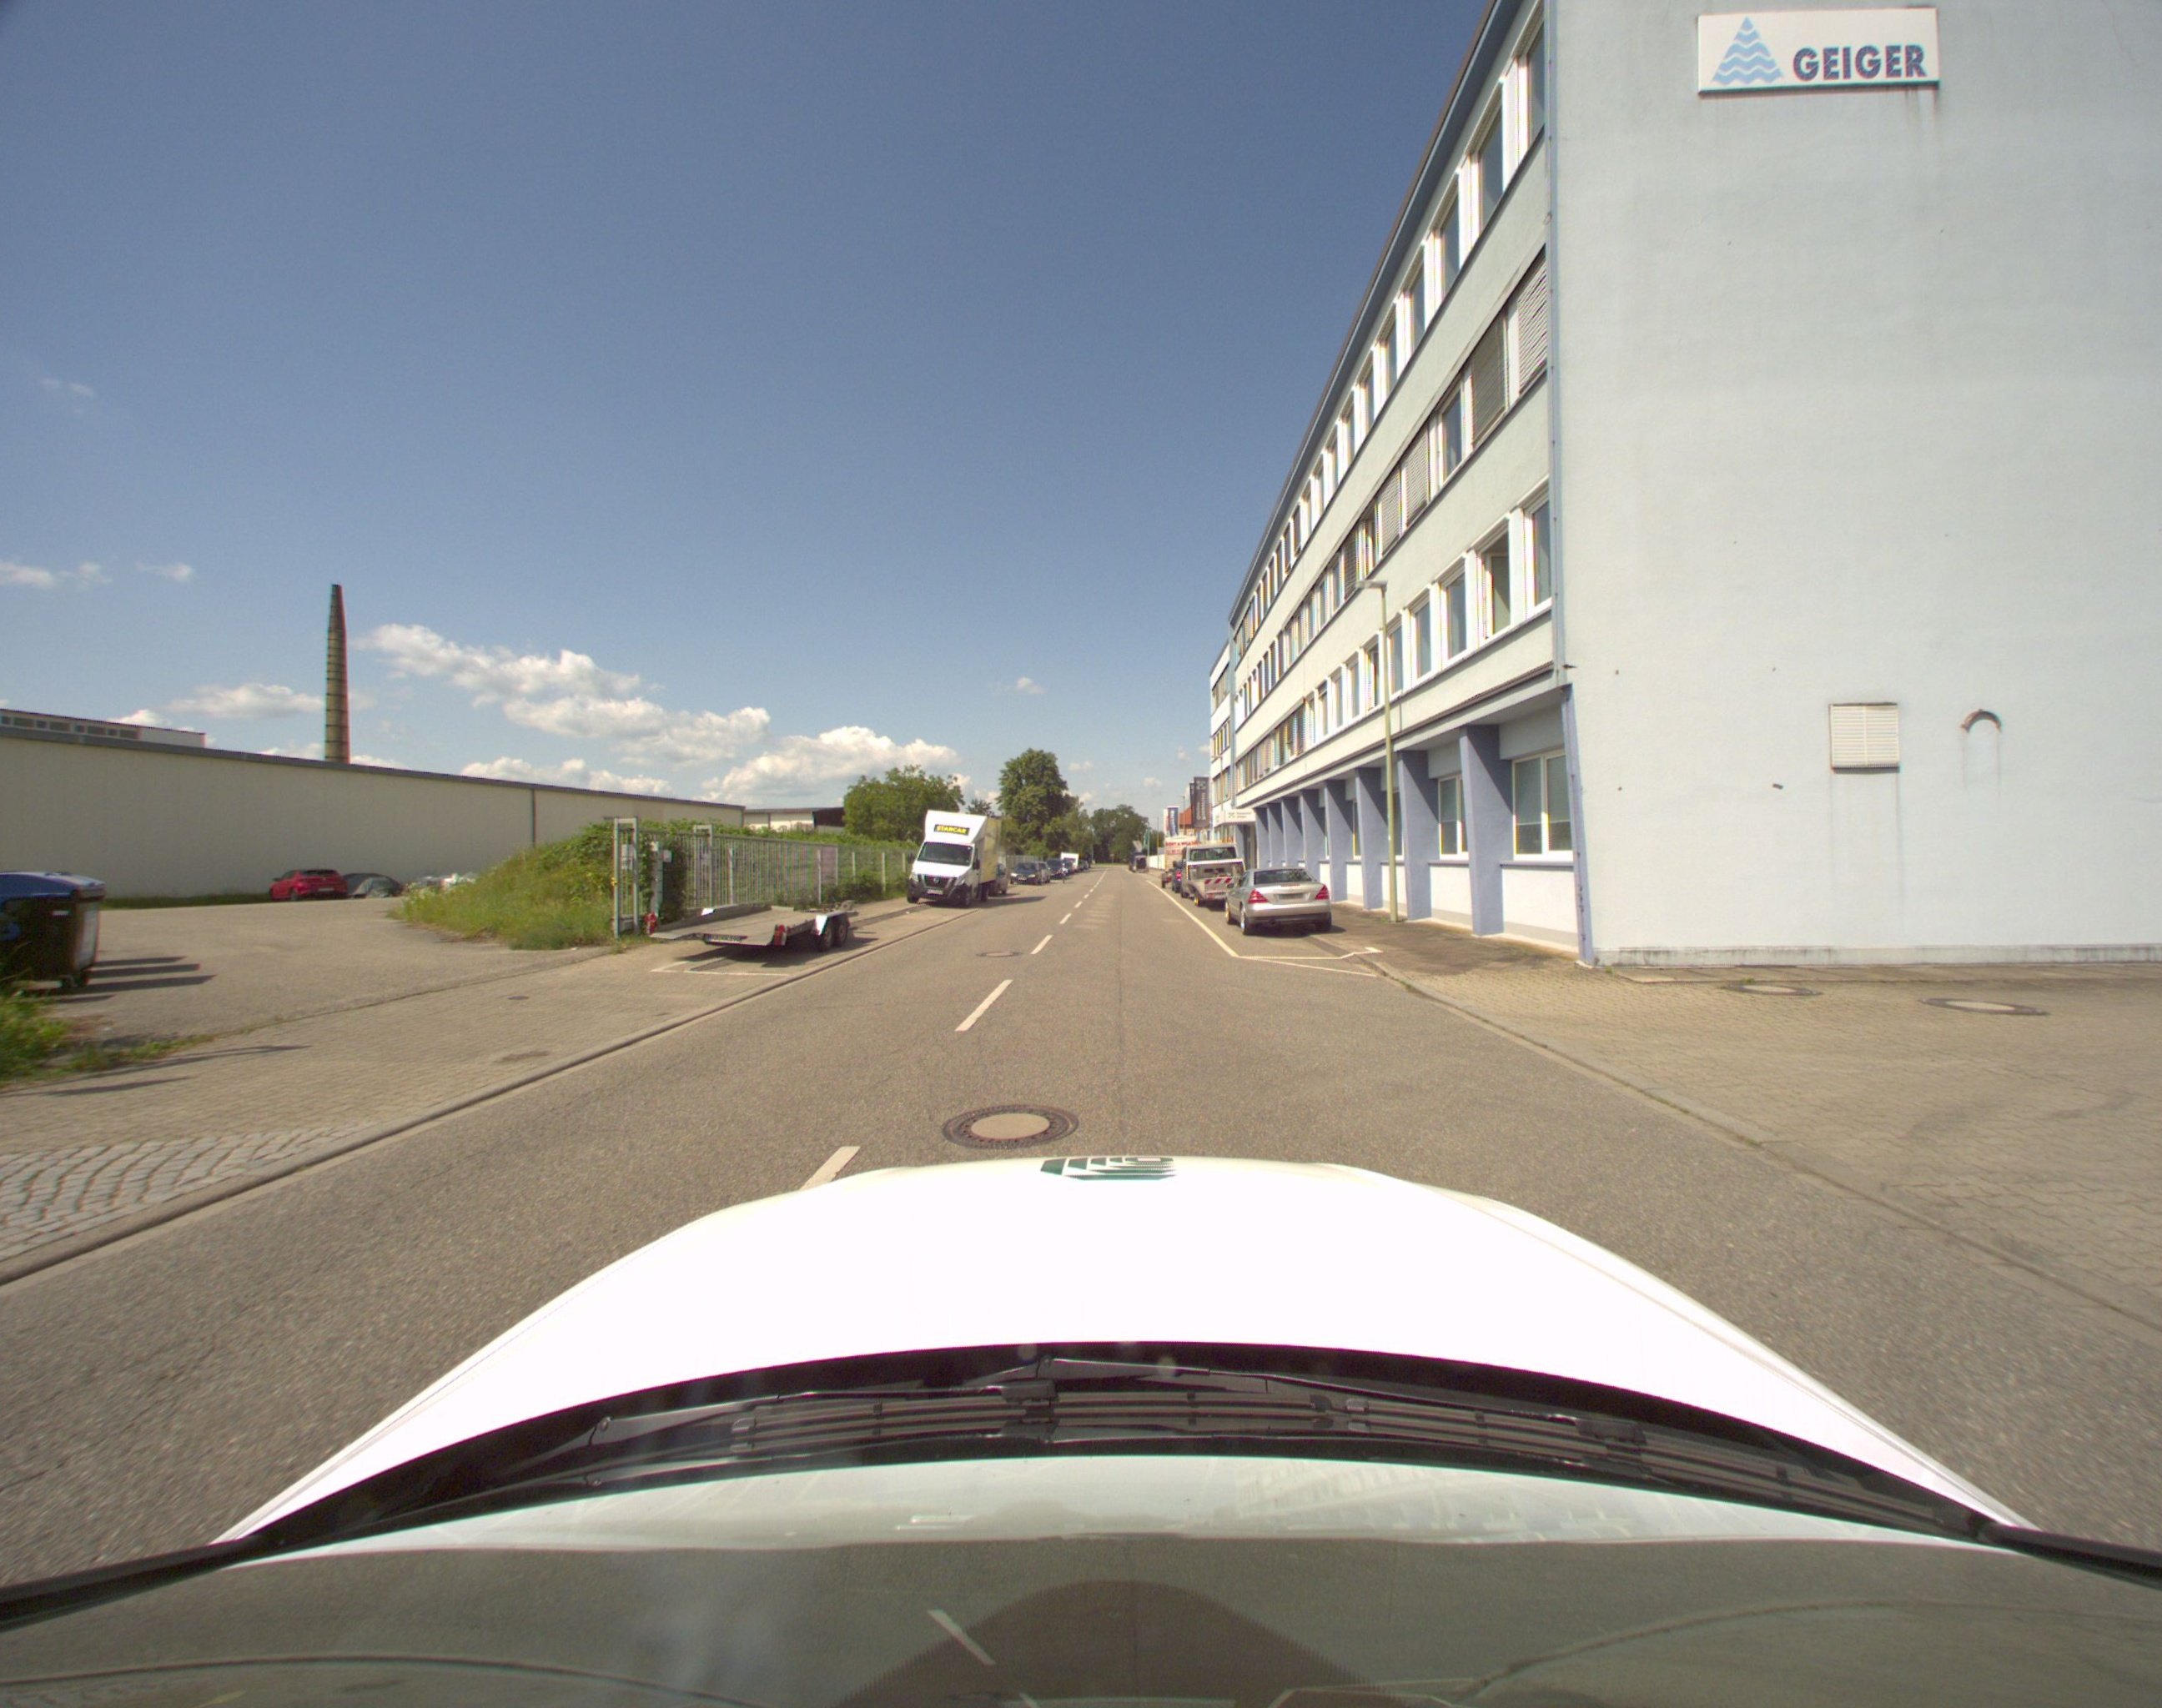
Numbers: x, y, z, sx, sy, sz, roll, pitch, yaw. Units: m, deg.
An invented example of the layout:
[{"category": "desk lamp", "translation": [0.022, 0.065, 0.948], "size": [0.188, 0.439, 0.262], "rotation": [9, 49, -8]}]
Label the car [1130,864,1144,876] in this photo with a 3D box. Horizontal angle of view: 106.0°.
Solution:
[{"category": "car", "translation": [7.065, 2.064, 103.340], "size": [1.566, 1.507, 4.134], "rotation": [0, -1, 2]}]

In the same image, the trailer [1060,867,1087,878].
[{"category": "trailer", "translation": [-0.737, 1.890, 84.566], "size": [2.261, 0.883, 7.138], "rotation": [4, -1, 4]}]

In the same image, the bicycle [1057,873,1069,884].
[{"category": "bicycle", "translation": [-1.184, 1.642, 55.033], "size": [0.585, 0.741, 2.128], "rotation": [0, -1, 5]}]

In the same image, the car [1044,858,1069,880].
[{"category": "car", "translation": [-2.033, 1.255, 69.442], "size": [1.794, 1.750, 4.714], "rotation": [-1, -1, 2]}]

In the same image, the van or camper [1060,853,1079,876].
[{"category": "van or camper", "translation": [-1.455, 1.354, 108.259], "size": [2.255, 2.804, 6.833], "rotation": [3, -1, 1]}]

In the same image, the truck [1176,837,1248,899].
[{"category": "truck", "translation": [4.592, 0.495, 29.135], "size": [1.956, 2.035, 4.736], "rotation": [0, -1, 2]}]

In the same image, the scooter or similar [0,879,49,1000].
[{"category": "scooter or similar", "translation": [-11.977, 0.919, 8.785], "size": [0.887, 1.275, 0.887], "rotation": [0, -1, -42]}]

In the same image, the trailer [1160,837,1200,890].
[{"category": "trailer", "translation": [4.998, 0.477, 41.556], "size": [1.860, 2.553, 5.078], "rotation": [-1, -1, 5]}]

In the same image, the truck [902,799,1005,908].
[{"category": "truck", "translation": [-4.398, -0.013, 29.503], "size": [2.242, 3.362, 6.909], "rotation": [4, 0, 2]}]

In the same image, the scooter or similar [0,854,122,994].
[{"category": "scooter or similar", "translation": [-12.578, 0.799, 9.789], "size": [1.176, 1.587, 1.304], "rotation": [0, -1, -42]}]

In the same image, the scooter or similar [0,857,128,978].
[{"category": "scooter or similar", "translation": [-13.954, 0.808, 11.023], "size": [1.176, 1.537, 1.432], "rotation": [0, -1, -42]}]

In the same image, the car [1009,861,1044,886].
[{"category": "car", "translation": [-3.408, 1.203, 51.479], "size": [1.562, 1.399, 3.803], "rotation": [4, 0, 4]}]

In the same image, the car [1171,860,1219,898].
[{"category": "car", "translation": [4.916, 1.079, 35.669], "size": [1.711, 1.542, 4.406], "rotation": [1, -1, 3]}]

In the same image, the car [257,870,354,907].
[{"category": "car", "translation": [-34.384, 1.494, 36.096], "size": [3.949, 1.534, 2.012], "rotation": [-1, -1, 29]}]

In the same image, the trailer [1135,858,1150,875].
[{"category": "trailer", "translation": [7.320, 1.460, 97.204], "size": [1.595, 2.037, 2.742], "rotation": [0, -1, 2]}]

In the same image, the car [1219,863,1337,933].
[{"category": "car", "translation": [4.008, 0.843, 17.154], "size": [1.640, 1.246, 4.002], "rotation": [-1, 0, 2]}]

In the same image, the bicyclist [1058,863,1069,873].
[{"category": "bicyclist", "translation": [-1.179, 0.931, 55.036], "size": [0.563, 0.631, 1.860], "rotation": [1, 0, 5]}]

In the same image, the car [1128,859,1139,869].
[{"category": "car", "translation": [8.586, 1.655, 133.186], "size": [1.817, 1.664, 4.558], "rotation": [-1, -1, 3]}]

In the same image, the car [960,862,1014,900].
[{"category": "car", "translation": [-4.053, 1.134, 35.811], "size": [1.612, 1.430, 3.829], "rotation": [6, 0, 3]}]

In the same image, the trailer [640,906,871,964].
[{"category": "trailer", "translation": [-5.497, 1.365, 14.550], "size": [2.227, 0.552, 4.446], "rotation": [1, 0, 1]}]

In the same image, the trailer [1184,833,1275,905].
[{"category": "trailer", "translation": [4.497, 0.441, 25.573], "size": [1.965, 1.971, 5.768], "rotation": [-1, -1, 2]}]

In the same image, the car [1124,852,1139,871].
[{"category": "car", "translation": [7.501, 1.055, 121.294], "size": [1.930, 2.748, 6.156], "rotation": [0, -1, 1]}]

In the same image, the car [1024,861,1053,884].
[{"category": "car", "translation": [-2.906, 1.255, 56.427], "size": [1.609, 1.483, 3.711], "rotation": [2, -1, 2]}]

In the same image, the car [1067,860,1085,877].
[{"category": "car", "translation": [-0.569, 1.654, 92.871], "size": [1.820, 1.793, 4.737], "rotation": [-1, -1, 2]}]
